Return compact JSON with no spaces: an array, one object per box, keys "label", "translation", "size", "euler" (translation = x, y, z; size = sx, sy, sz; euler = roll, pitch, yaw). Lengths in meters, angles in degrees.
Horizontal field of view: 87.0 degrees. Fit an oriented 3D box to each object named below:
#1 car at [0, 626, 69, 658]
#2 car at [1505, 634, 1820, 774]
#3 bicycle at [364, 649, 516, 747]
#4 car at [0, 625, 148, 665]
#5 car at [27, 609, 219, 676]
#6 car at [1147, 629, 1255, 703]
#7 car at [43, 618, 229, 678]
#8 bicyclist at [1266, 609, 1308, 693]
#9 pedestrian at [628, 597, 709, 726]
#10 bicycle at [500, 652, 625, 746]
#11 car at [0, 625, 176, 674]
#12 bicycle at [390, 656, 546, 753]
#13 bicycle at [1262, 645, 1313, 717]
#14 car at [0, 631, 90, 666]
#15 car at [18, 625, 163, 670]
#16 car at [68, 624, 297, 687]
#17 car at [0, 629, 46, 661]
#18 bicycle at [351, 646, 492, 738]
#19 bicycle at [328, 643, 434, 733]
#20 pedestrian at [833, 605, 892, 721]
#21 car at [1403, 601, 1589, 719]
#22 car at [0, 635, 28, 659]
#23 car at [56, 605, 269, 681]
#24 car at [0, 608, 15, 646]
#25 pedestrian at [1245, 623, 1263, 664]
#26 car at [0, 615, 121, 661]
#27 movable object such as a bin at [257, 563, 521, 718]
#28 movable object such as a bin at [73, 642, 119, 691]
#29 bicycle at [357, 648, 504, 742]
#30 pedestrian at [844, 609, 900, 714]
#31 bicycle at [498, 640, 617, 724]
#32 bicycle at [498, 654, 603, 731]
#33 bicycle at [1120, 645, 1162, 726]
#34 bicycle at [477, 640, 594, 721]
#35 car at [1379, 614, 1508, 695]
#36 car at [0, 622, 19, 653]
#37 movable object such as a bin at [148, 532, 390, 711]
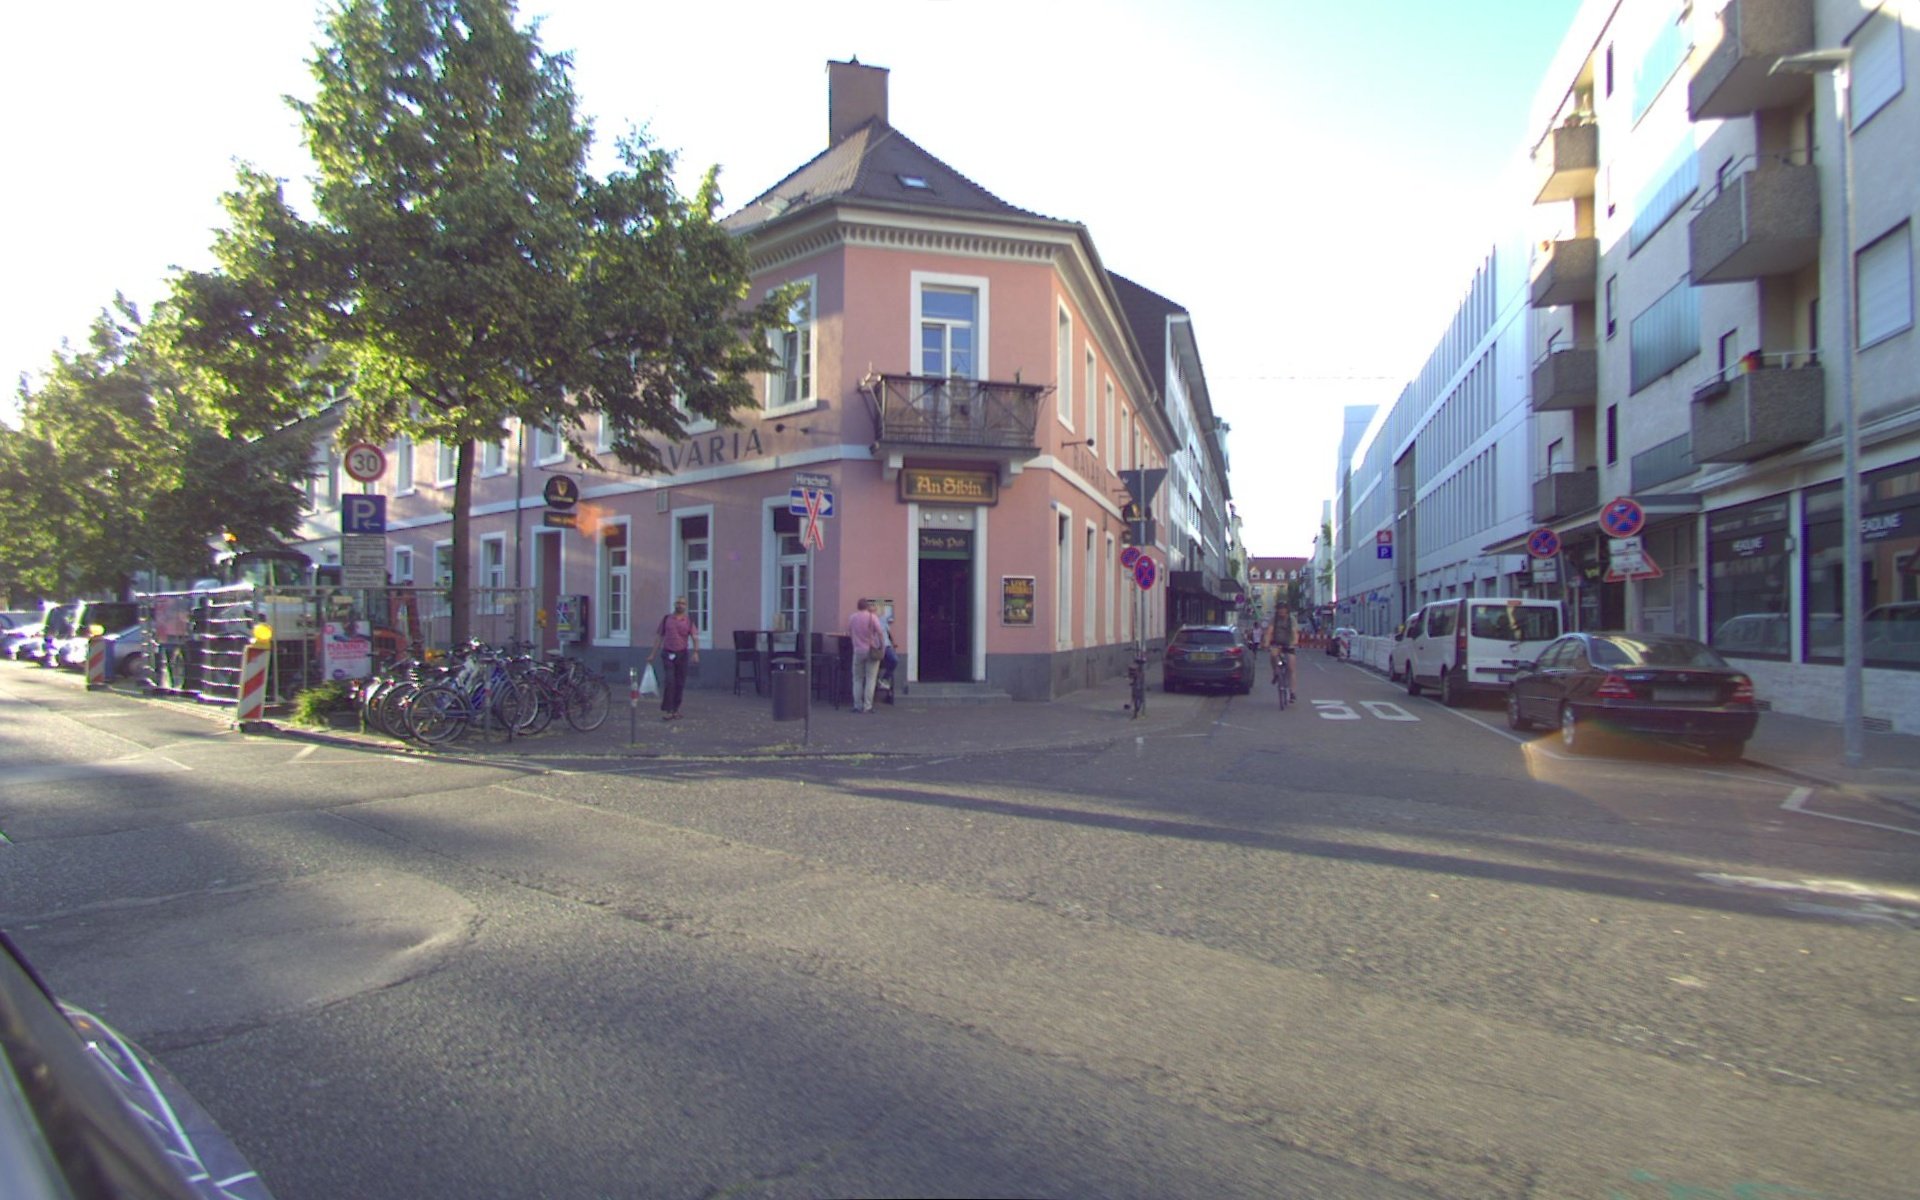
[{"label":"car","translation":[-45.669,2.019,48.646],"size":[1.962,1.495,3.996],"euler":[-2,-3,40]},{"label":"car","translation":[8.258,1.109,12.418],"size":[1.983,1.390,4.184],"euler":[-1,-2,18]},{"label":"bicycle","translation":[-6.642,1.221,12.977],"size":[1.662,1.086,0.445],"euler":[-2,1,-41]},{"label":"car","translation":[-35.695,1.782,40.766],"size":[1.733,1.496,4.429],"euler":[-2,-2,43]},{"label":"car","translation":[-26.536,1.313,32.189],"size":[2.067,1.991,4.436],"euler":[-2,-2,41]},{"label":"car","translation":[5.532,1.435,22.803],"size":[1.982,1.482,4.501],"euler":[-2,-2,18]},{"label":"car","translation":[-24.592,1.386,30.316],"size":[1.859,1.649,4.086],"euler":[-2,-2,41]},{"label":"bicyclist","translation":[5.897,0.908,18.220],"size":[0.582,1.469,0.737],"euler":[-3,-3,25]},{"label":"pedestrian","translation":[-4.158,0.866,14.520],"size":[1.023,1.779,0.820],"euler":[0,-2,-9]},{"label":"bicycle","translation":[-5.042,1.229,12.916],"size":[0.470,1.067,1.474],"euler":[0,-1,35]},{"label":"car","translation":[-29.804,1.644,34.693],"size":[1.838,1.512,4.287],"euler":[-2,-2,36]},{"label":"bicycle","translation":[-6.080,1.265,12.569],"size":[1.662,1.029,0.445],"euler":[-2,1,-41]},{"label":"bicycle","translation":[5.910,1.423,18.178],"size":[0.582,1.202,2.107],"euler":[-3,-3,25]},{"label":"car","translation":[-43.485,2.251,47.393],"size":[1.964,1.567,3.993],"euler":[-2,-3,43]},{"label":"car","translation":[-31.780,1.713,37.055],"size":[1.905,1.513,3.879],"euler":[-2,-2,43]},{"label":"car","translation":[-20.259,1.390,26.510],"size":[1.893,1.481,4.543],"euler":[-2,-2,44]},{"label":"car","translation":[-54.278,2.535,56.910],"size":[1.806,1.820,4.093],"euler":[-2,-3,42]},{"label":"bicycle","translation":[-7.395,1.236,13.958],"size":[0.444,1.086,1.665],"euler":[0,1,40]},{"label":"bicycle","translation":[-8.199,1.221,14.390],"size":[0.439,1.125,1.545],"euler":[-1,1,8]},{"label":"pedestrian","translation":[-1.509,0.956,15.705],"size":[0.718,1.750,0.501],"euler":[1,-1,32]},{"label":"car","translation":[10.085,1.084,19.468],"size":[2.050,1.961,4.509],"euler":[1,-2,13]},{"label":"car","translation":[-59.819,2.909,61.841],"size":[1.593,1.450,4.107],"euler":[-2,-3,42]},{"label":"car","translation":[-22.510,1.165,28.714],"size":[1.963,1.991,4.439],"euler":[-2,-2,39]},{"label":"car","translation":[-70.058,1.929,70.761],"size":[2.170,2.641,5.600],"euler":[-2,-2,41]},{"label":"pedestrian","translation":[12.577,1.850,43.251],"size":[0.711,1.702,0.779],"euler":[-1,-2,16]},{"label":"car","translation":[-39.510,1.645,43.668],"size":[1.972,1.922,4.820],"euler":[-2,-3,41]},{"label":"movable object such as a bin","translation":[-10.542,0.752,19.384],"size":[2.278,2.514,5.762],"euler":[0,-2,-6]},{"label":"movable object such as a bin","translation":[-20.119,1.528,23.571],"size":[0.883,1.113,0.682],"euler":[-2,-4,43]},{"label":"bicycle","translation":[-7.029,1.235,13.477],"size":[1.662,1.086,0.445],"euler":[-2,1,-41]},{"label":"pedestrian","translation":[-1.447,0.990,16.642],"size":[0.718,1.663,0.501],"euler":[1,-1,32]},{"label":"bicycle","translation":[-6.123,1.221,15.469],"size":[0.445,1.157,1.664],"euler":[-1,-1,44]},{"label":"bicycle","translation":[-5.758,1.280,14.263],"size":[0.445,0.987,1.309],"euler":[-1,-1,44]},{"label":"bicycle","translation":[2.973,1.372,16.736],"size":[0.579,1.202,1.938],"euler":[1,-1,7]},{"label":"bicycle","translation":[-6.638,1.229,15.884],"size":[0.445,1.157,1.664],"euler":[-1,-1,44]},{"label":"car","translation":[12.352,1.354,26.175],"size":[2.050,1.881,4.509],"euler":[1,-2,13]},{"label":"car","translation":[-62.235,2.350,63.548],"size":[1.919,1.968,4.451],"euler":[-2,-3,43]},{"label":"movable object such as a bin","translation":[-13.513,0.443,19.662],"size":[5.300,2.992,2.597],"euler":[-2,-3,41]}]
